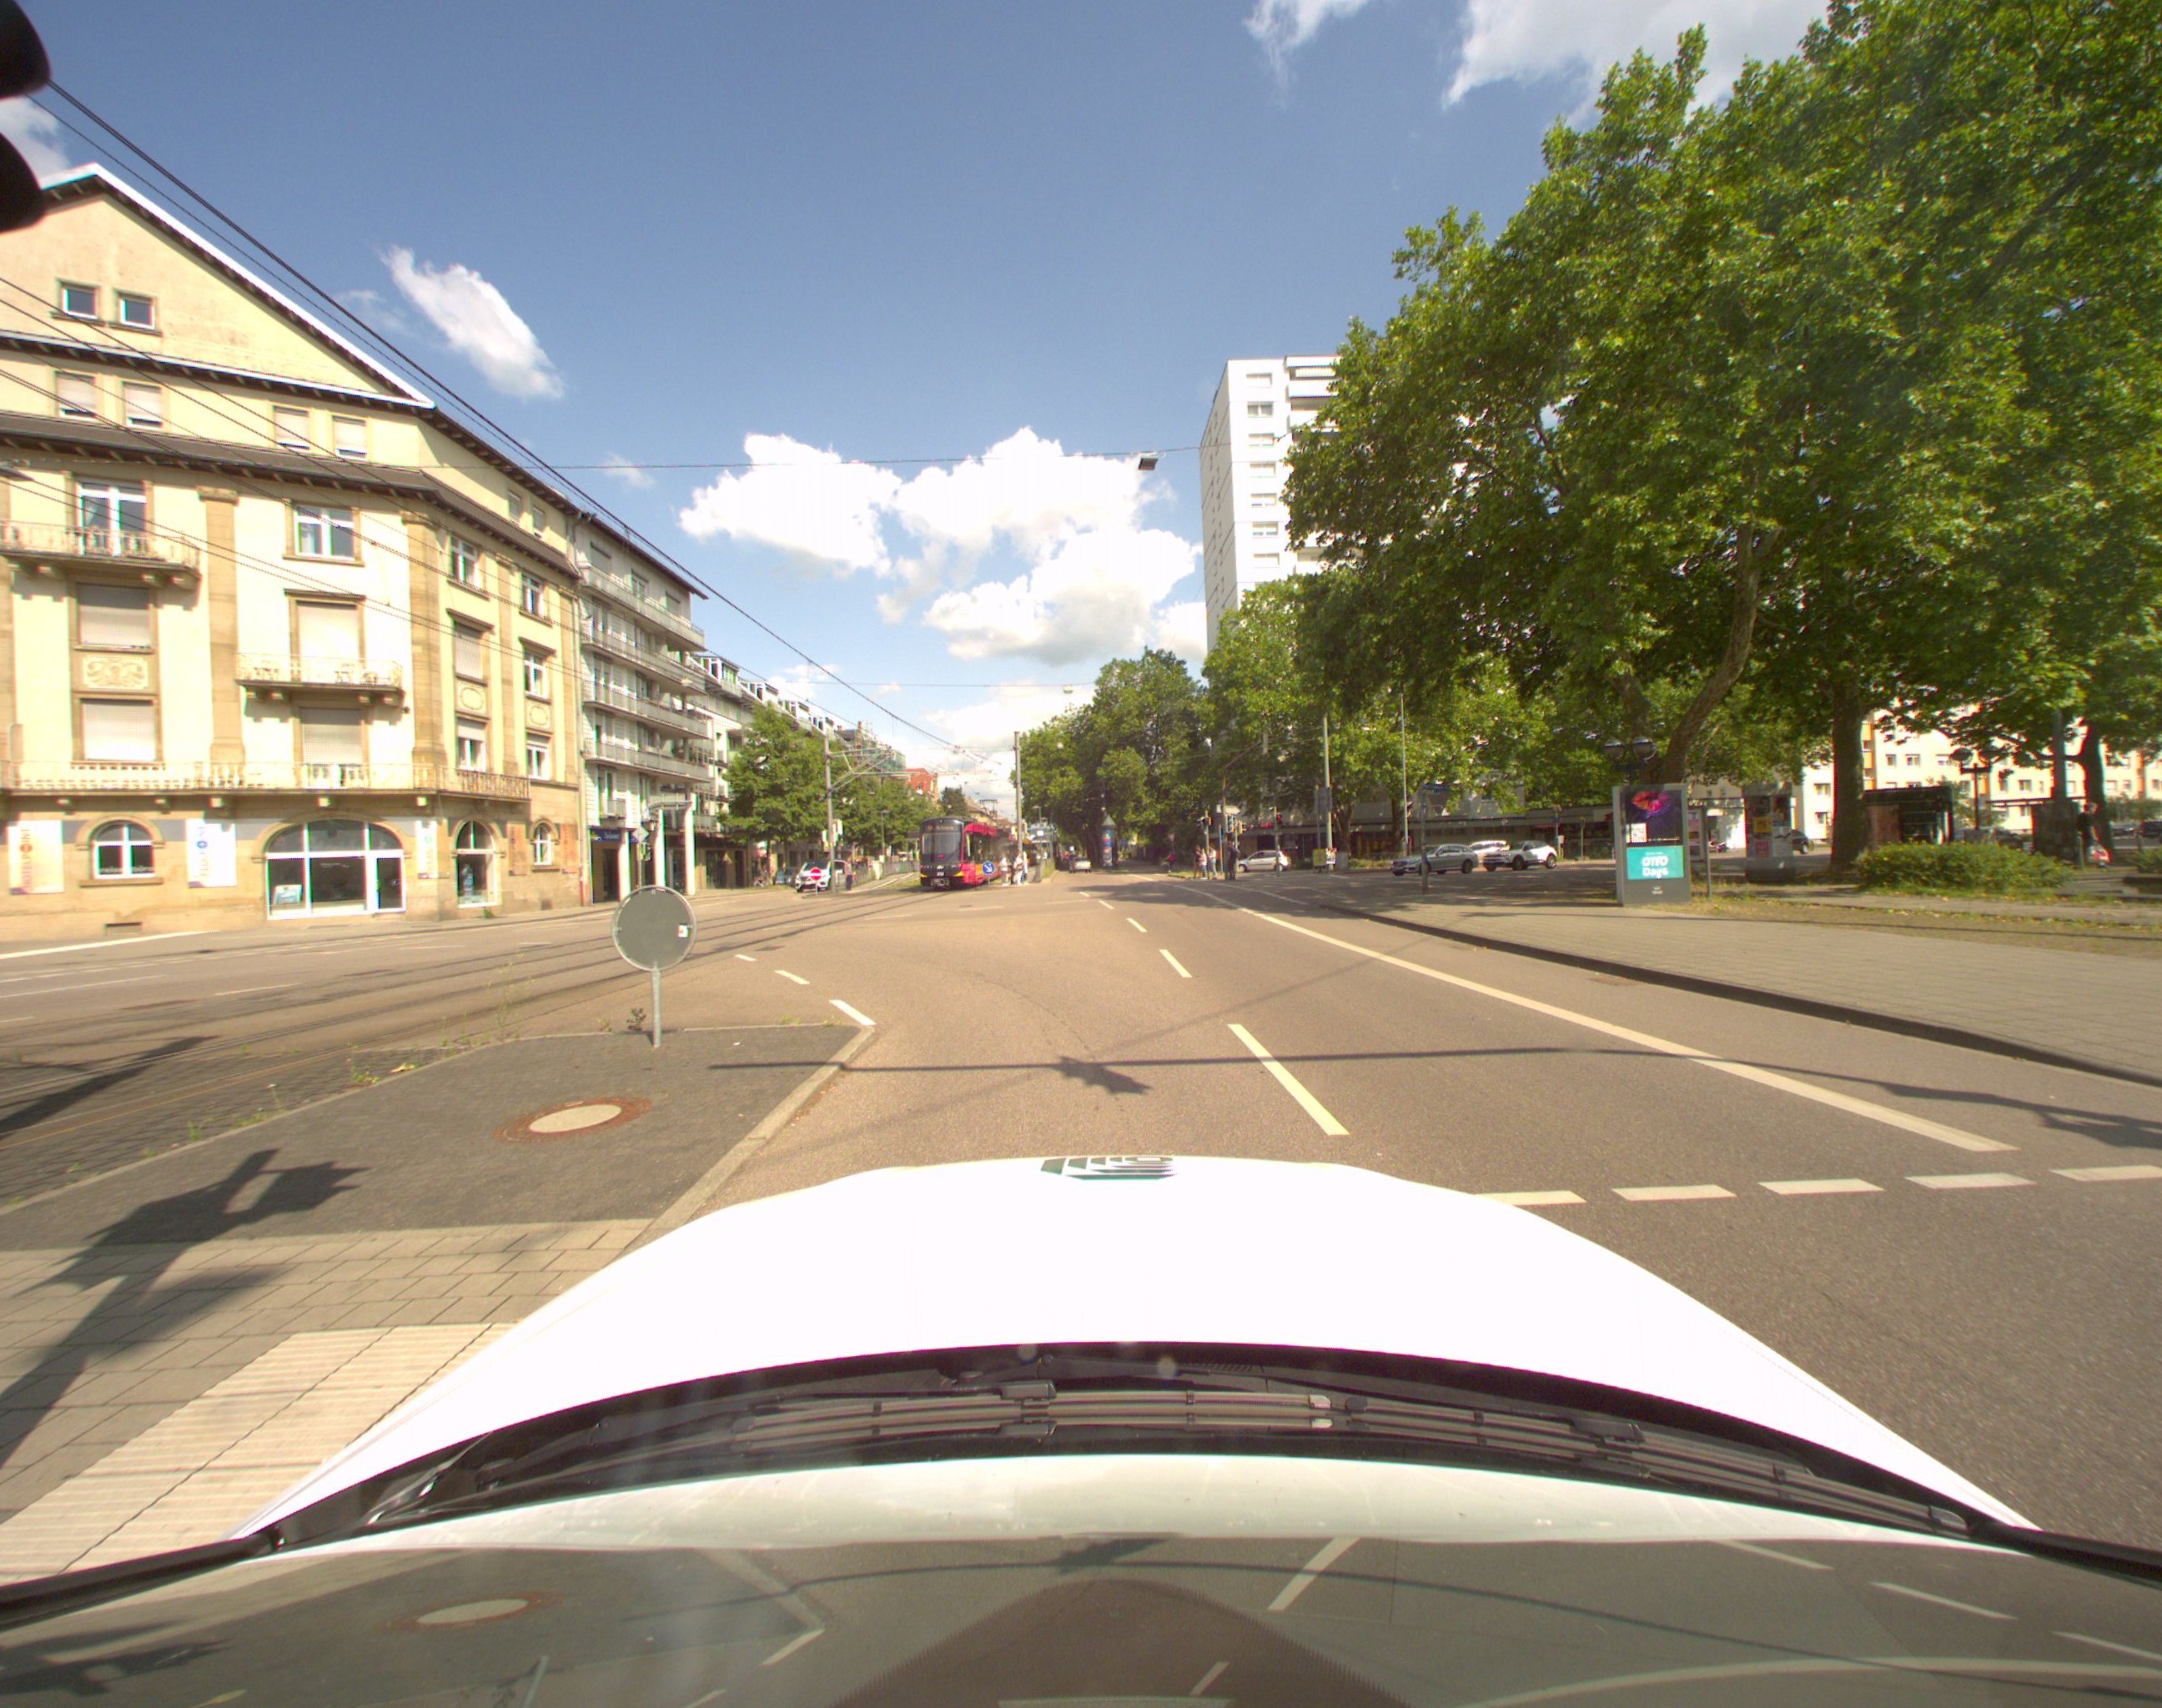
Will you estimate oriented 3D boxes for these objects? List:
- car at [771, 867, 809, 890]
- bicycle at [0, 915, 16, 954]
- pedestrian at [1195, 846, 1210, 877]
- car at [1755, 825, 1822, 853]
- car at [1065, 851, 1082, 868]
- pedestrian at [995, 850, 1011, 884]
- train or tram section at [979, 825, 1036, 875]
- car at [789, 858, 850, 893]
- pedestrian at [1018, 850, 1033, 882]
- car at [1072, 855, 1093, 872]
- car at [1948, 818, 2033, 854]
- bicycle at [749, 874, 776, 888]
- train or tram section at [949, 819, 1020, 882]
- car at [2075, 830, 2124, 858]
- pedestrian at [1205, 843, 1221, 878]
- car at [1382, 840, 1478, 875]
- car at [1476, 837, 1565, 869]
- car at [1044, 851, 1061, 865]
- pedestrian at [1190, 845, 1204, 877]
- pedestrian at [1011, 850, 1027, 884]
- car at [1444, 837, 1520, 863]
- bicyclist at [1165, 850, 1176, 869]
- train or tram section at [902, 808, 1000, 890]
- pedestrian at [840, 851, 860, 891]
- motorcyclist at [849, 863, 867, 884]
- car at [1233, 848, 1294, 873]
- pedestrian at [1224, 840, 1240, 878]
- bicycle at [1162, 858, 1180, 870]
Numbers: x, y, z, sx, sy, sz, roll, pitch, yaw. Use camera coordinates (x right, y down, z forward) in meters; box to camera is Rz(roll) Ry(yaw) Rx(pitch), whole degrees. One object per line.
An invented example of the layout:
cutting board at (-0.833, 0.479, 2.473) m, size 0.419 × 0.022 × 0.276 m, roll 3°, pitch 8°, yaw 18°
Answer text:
car at (-23.859, 1.960, 66.918) m, size 1.842 × 1.789 × 3.997 m, roll 0°, pitch 0°, yaw -2°
bicycle at (-29.889, 2.260, 22.012) m, size 0.611 × 1.018 × 1.859 m, roll -2°, pitch 2°, yaw -29°
pedestrian at (6.422, 0.401, 42.889) m, size 0.512 × 1.597 × 0.552 m, roll -2°, pitch 0°, yaw -22°
car at (45.137, -0.943, 51.984) m, size 4.006 × 1.619 × 1.677 m, roll -3°, pitch 0°, yaw -24°
car at (-0.941, 0.705, 103.635) m, size 1.988 × 2.013 × 3.997 m, roll -1°, pitch 0°, yaw -2°
pedestrian at (-3.993, 0.647, 41.626) m, size 0.667 × 1.703 × 0.648 m, roll -2°, pitch 0°, yaw 1°
train or tram section at (-5.673, -0.319, 64.971) m, size 2.795 × 3.561 × 12.164 m, roll -3°, pitch 0°, yaw 2°
car at (-15.558, 1.244, 48.781) m, size 1.987 × 1.891 × 5.170 m, roll -2°, pitch 0°, yaw -1°
pedestrian at (-2.973, 0.645, 43.651) m, size 0.667 × 1.703 × 0.648 m, roll -2°, pitch 0°, yaw 1°
car at (0.189, 0.819, 73.387) m, size 1.742 × 1.453 × 3.607 m, roll -3°, pitch 0°, yaw 2°
car at (44.437, -0.886, 39.779) m, size 4.007 × 1.501 × 1.676 m, roll -3°, pitch 0°, yaw -25°
bicycle at (-23.275, 1.962, 59.483) m, size 1.686 × 0.986 × 0.497 m, roll -3°, pitch 0°, yaw -4°
train or tram section at (-6.075, -0.247, 53.319) m, size 2.795 × 3.561 × 11.186 m, roll -3°, pitch 0°, yaw 2°
car at (72.678, -0.712, 58.129) m, size 4.013 × 1.719 × 1.568 m, roll -3°, pitch 0°, yaw -30°
pedestrian at (6.751, 0.329, 41.540) m, size 0.529 × 1.735 × 0.552 m, roll -2°, pitch 0°, yaw -22°
car at (16.798, 0.148, 39.193) m, size 3.998 × 1.490 × 1.850 m, roll -2°, pitch 0°, yaw -18°
car at (22.643, -0.054, 41.943) m, size 4.080 × 1.490 × 1.847 m, roll -2°, pitch 0°, yaw -23°
car at (-3.739, 0.506, 106.597) m, size 1.808 × 1.804 × 4.002 m, roll -3°, pitch 0°, yaw 2°
pedestrian at (6.191, 0.368, 43.476) m, size 0.512 × 1.670 × 0.552 m, roll -2°, pitch 0°, yaw -22°
pedestrian at (-3.161, 0.672, 41.602) m, size 0.667 × 1.703 × 0.648 m, roll -2°, pitch 0°, yaw 1°
car at (25.202, -0.239, 51.254) m, size 3.832 × 1.490 × 1.857 m, roll -2°, pitch 0°, yaw -6°
bicyclist at (6.689, 0.433, 60.885) m, size 0.616 × 1.384 × 0.875 m, roll -2°, pitch 0°, yaw -10°
train or tram section at (-6.374, -0.246, 42.023) m, size 2.786 × 3.561 × 11.380 m, roll -3°, pitch 0°, yaw 2°
pedestrian at (-11.958, 0.851, 42.137) m, size 0.735 × 2.013 × 0.705 m, roll -2°, pitch 0°, yaw 4°
motorcyclist at (-15.221, 1.308, 55.535) m, size 0.891 × 1.404 × 1.087 m, roll -2°, pitch 0°, yaw -1°
car at (12.202, 0.431, 54.367) m, size 3.628 × 1.484 × 1.746 m, roll -2°, pitch 0°, yaw 23°
pedestrian at (7.436, 0.257, 40.052) m, size 0.475 × 1.825 × 0.560 m, roll -3°, pitch 0°, yaw 41°
bicycle at (6.700, 0.745, 60.906) m, size 0.616 × 0.880 × 2.528 m, roll -2°, pitch 0°, yaw -10°
